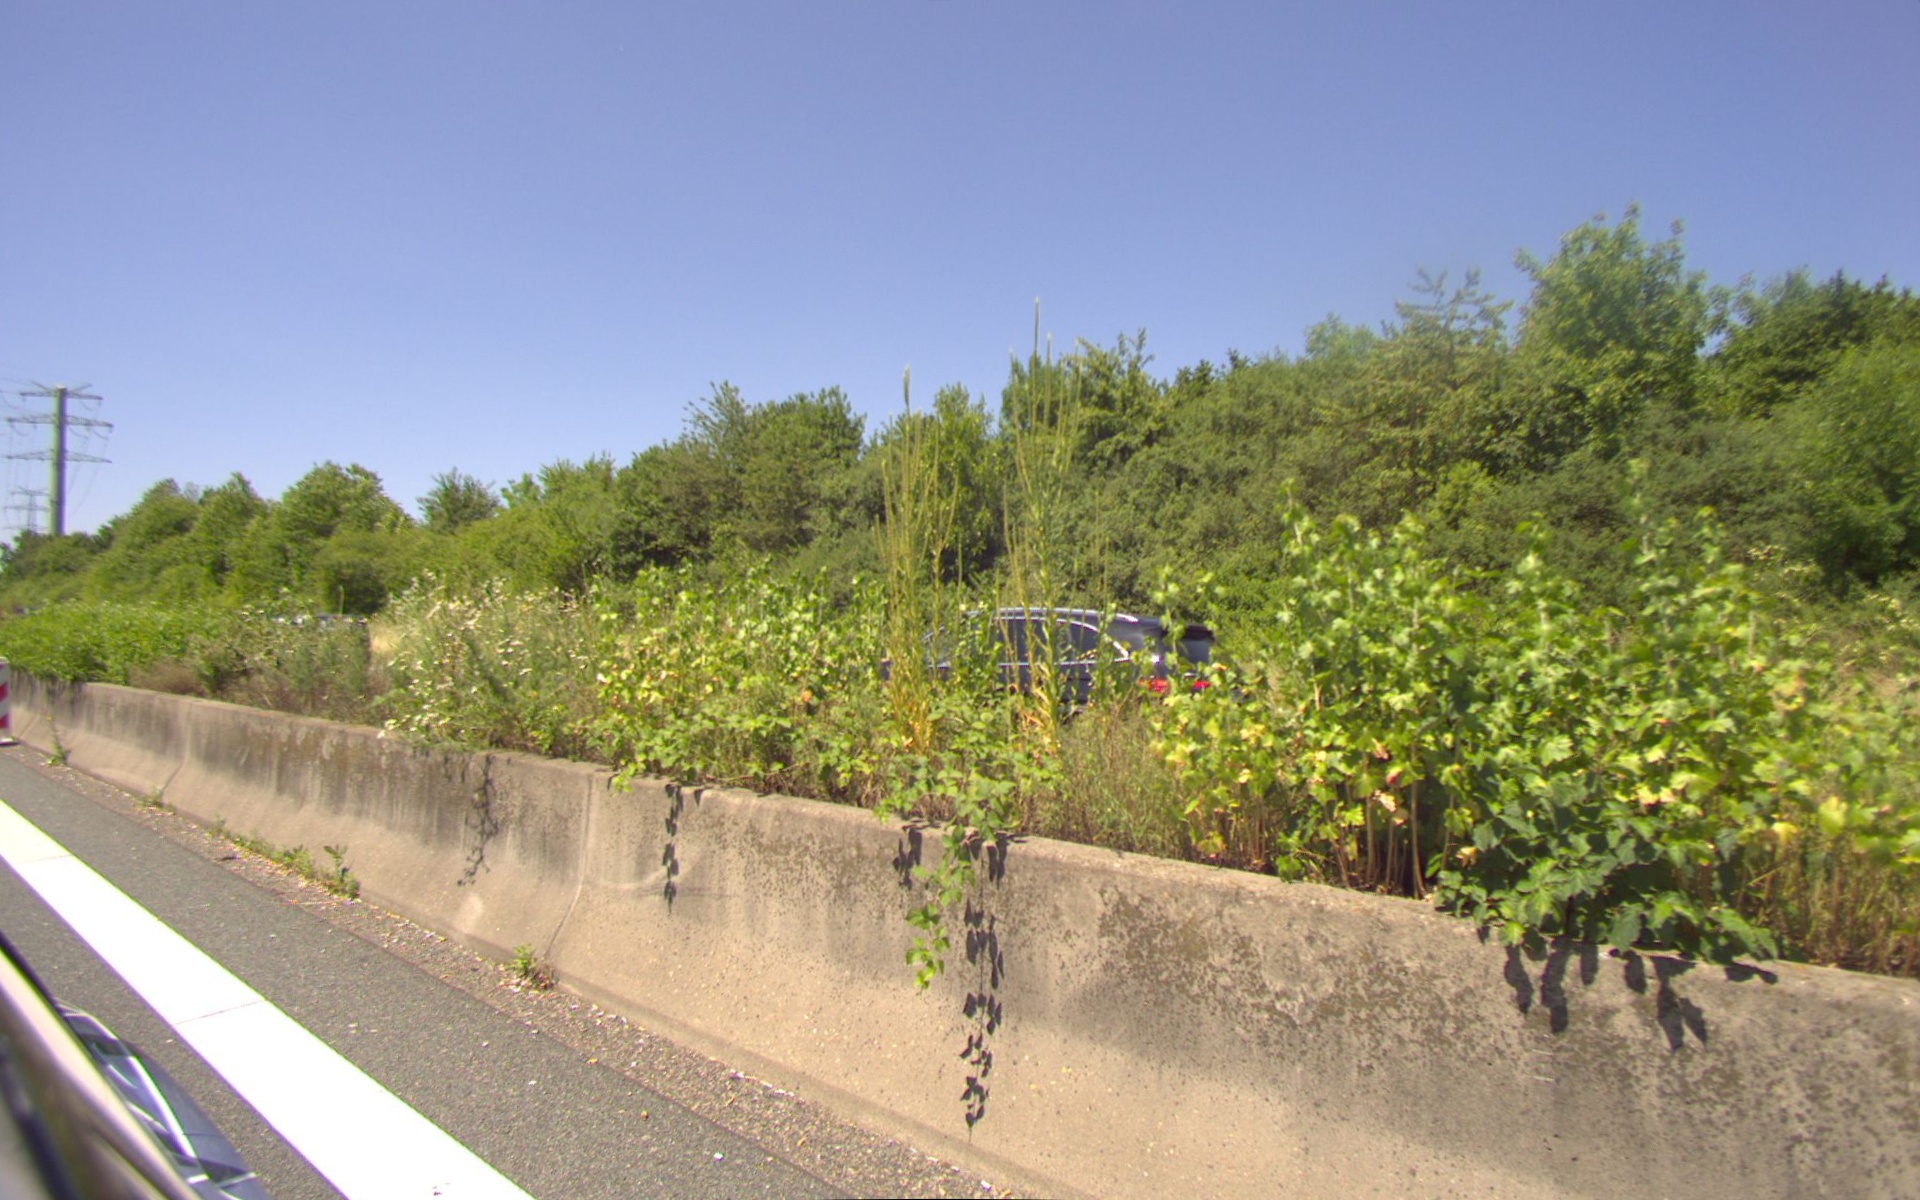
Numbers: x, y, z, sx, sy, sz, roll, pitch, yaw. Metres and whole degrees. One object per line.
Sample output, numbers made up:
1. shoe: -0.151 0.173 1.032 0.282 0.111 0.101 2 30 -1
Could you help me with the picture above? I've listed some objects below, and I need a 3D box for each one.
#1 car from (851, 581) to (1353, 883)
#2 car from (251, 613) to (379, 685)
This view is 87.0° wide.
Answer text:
1. car: 1.089 0.951 8.824 3.997 2.029 1.810 -1 -3 40
2. car: -19.735 1.463 30.902 4.405 2.029 1.942 -1 -2 38
